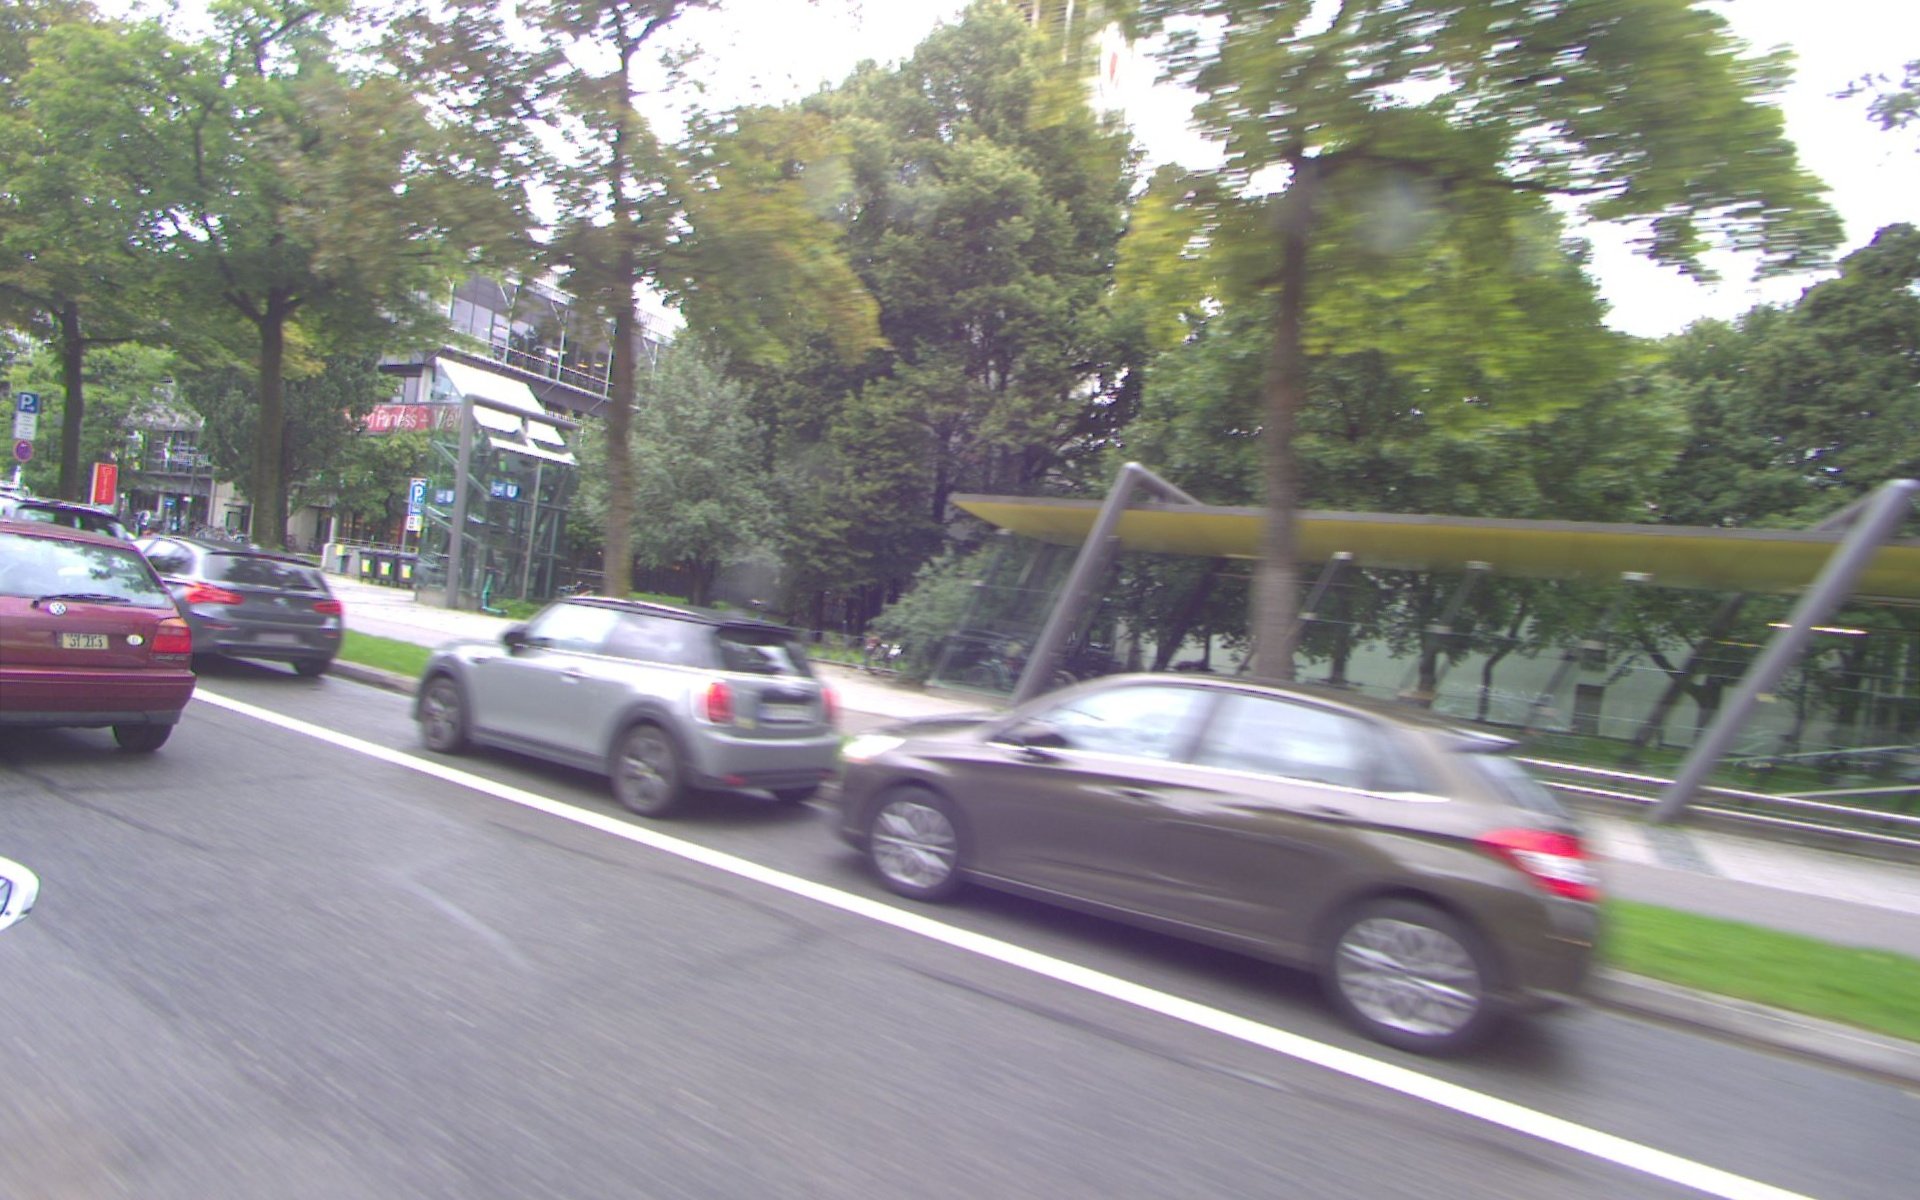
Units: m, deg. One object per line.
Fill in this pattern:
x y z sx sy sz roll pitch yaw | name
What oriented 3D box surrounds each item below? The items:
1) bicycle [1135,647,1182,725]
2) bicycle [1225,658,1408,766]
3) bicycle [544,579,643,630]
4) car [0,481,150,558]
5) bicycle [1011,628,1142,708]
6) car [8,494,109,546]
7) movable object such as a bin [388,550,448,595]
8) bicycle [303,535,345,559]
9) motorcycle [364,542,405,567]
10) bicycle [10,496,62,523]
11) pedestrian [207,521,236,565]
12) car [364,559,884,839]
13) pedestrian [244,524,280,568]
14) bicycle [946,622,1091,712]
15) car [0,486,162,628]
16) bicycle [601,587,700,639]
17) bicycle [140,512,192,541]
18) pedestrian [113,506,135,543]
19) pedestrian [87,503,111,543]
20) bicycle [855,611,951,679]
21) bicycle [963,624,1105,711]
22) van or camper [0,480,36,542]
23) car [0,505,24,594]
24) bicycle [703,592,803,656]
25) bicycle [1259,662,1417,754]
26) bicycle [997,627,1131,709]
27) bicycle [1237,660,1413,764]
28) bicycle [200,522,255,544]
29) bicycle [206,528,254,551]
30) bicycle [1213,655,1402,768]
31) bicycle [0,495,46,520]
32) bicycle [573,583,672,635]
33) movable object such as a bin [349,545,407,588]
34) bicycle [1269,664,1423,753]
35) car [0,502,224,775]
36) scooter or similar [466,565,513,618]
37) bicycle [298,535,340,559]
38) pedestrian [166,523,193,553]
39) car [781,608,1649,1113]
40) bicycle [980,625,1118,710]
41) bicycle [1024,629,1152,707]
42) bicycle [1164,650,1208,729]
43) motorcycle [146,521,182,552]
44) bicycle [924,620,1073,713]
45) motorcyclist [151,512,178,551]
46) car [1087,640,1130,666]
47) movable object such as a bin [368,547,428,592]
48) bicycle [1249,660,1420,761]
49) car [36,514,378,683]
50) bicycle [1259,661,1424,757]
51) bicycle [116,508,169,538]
3.692 1.553 18.555 0.483 1.296 2.552 7 -1 16 | bicycle
5.573 1.720 15.823 2.508 1.296 0.646 6 0 31 | bicycle
-9.735 0.139 26.835 0.636 1.102 2.546 7 -1 31 | bicycle
-24.980 -2.189 28.216 1.947 1.643 4.825 8 -2 -21 | car
2.362 1.383 20.625 2.508 1.296 0.605 6 0 31 | bicycle
-37.643 -3.354 41.994 3.934 1.671 1.996 7 -1 32 | car
-19.923 -1.010 37.021 1.292 1.426 1.339 7 -1 29 | movable object such as a bin
-40.043 -3.313 63.331 0.577 1.219 2.142 7 -1 29 | bicycle
-34.358 -2.713 60.053 2.335 1.245 0.871 7 1 24 | motorcycle
-68.712 -6.721 74.842 0.784 1.526 2.617 7 -1 25 | bicycle
-31.133 -2.410 42.410 0.971 1.744 0.539 7 2 31 | pedestrian
-2.786 0.650 8.068 4.010 1.471 1.637 6 -1 31 | car
-29.709 -2.312 42.819 0.924 1.744 0.828 7 2 31 | pedestrian
1.039 1.198 18.319 2.508 1.296 0.646 6 0 31 | bicycle
-13.702 -0.736 14.534 4.518 1.695 1.790 7 -1 31 | car
-7.836 0.358 25.645 0.636 1.102 2.546 7 -1 31 | bicycle
-50.468 -4.661 64.015 0.783 1.526 2.620 7 -1 10 | bicycle
-43.495 -3.929 52.366 0.720 1.772 0.575 7 0 36 | pedestrian
-40.939 -3.651 47.844 0.720 1.772 0.575 7 0 36 | pedestrian
-1.199 1.005 21.914 0.636 1.296 2.546 7 -1 31 | bicycle
1.362 1.251 18.912 2.508 1.296 0.646 6 0 31 | bicycle
-44.665 -4.235 45.903 5.857 2.589 1.996 7 0 32 | van or camper
-18.121 -1.100 17.323 4.407 1.451 1.656 6 -1 31 | car
-4.837 0.589 23.719 0.636 1.296 2.546 7 -1 31 | bicycle
6.869 1.936 18.367 2.508 1.296 0.646 6 0 31 | bicycle
2.051 1.336 20.059 2.508 1.296 0.646 6 0 31 | bicycle
5.916 1.789 16.410 2.508 1.296 0.646 6 0 31 | bicycle
-42.601 -3.884 58.513 2.366 0.880 0.769 7 -1 -15 | bicycle
-41.699 -3.457 57.475 2.016 0.969 0.744 7 -1 -15 | bicycle
5.235 1.650 15.247 2.508 1.296 0.646 6 0 31 | bicycle
-71.956 -7.078 77.074 0.784 1.526 2.617 7 -1 25 | bicycle
-8.731 0.255 26.189 0.636 1.102 2.546 7 -1 31 | bicycle
-22.192 -1.270 38.372 1.292 1.426 1.339 7 -1 29 | movable object such as a bin
7.248 2.015 18.957 2.508 1.296 0.646 6 0 31 | bicycle
-6.737 0.043 6.570 3.883 1.471 1.625 6 -1 31 | car
-12.222 -0.230 26.111 1.217 1.247 0.420 7 -1 34 | scooter or similar
-40.541 -3.370 63.675 0.577 1.219 2.142 7 -1 29 | bicycle
-36.706 -2.902 47.330 0.686 1.307 0.733 6 2 26 | pedestrian
1.216 1.081 5.672 4.153 1.526 1.720 6 -1 31 | car
1.695 1.286 19.496 2.508 1.296 0.646 6 0 31 | bicycle
2.666 1.413 21.173 2.508 1.296 0.605 6 0 31 | bicycle
4.160 1.598 18.406 0.483 1.296 2.552 7 -1 16 | bicycle
-38.154 -3.050 48.223 2.032 1.309 0.695 7 4 31 | motorcycle
0.648 1.158 17.715 2.508 1.296 0.646 6 0 31 | bicycle
-38.115 -3.283 48.188 0.937 1.761 0.691 7 4 31 | motorcyclist
11.234 3.984 75.674 1.964 1.612 4.456 7 -1 24 | car
-21.054 -1.140 37.699 1.292 1.426 1.339 7 -1 29 | movable object such as a bin
6.275 1.822 16.957 2.508 1.296 0.646 6 0 31 | bicycle
-8.981 -0.047 11.912 4.232 1.456 1.636 7 -1 30 | car
6.656 1.875 17.622 2.508 1.296 0.646 6 0 31 | bicycle
-53.759 -5.043 66.178 0.783 1.526 2.619 7 -1 18 | bicycle
